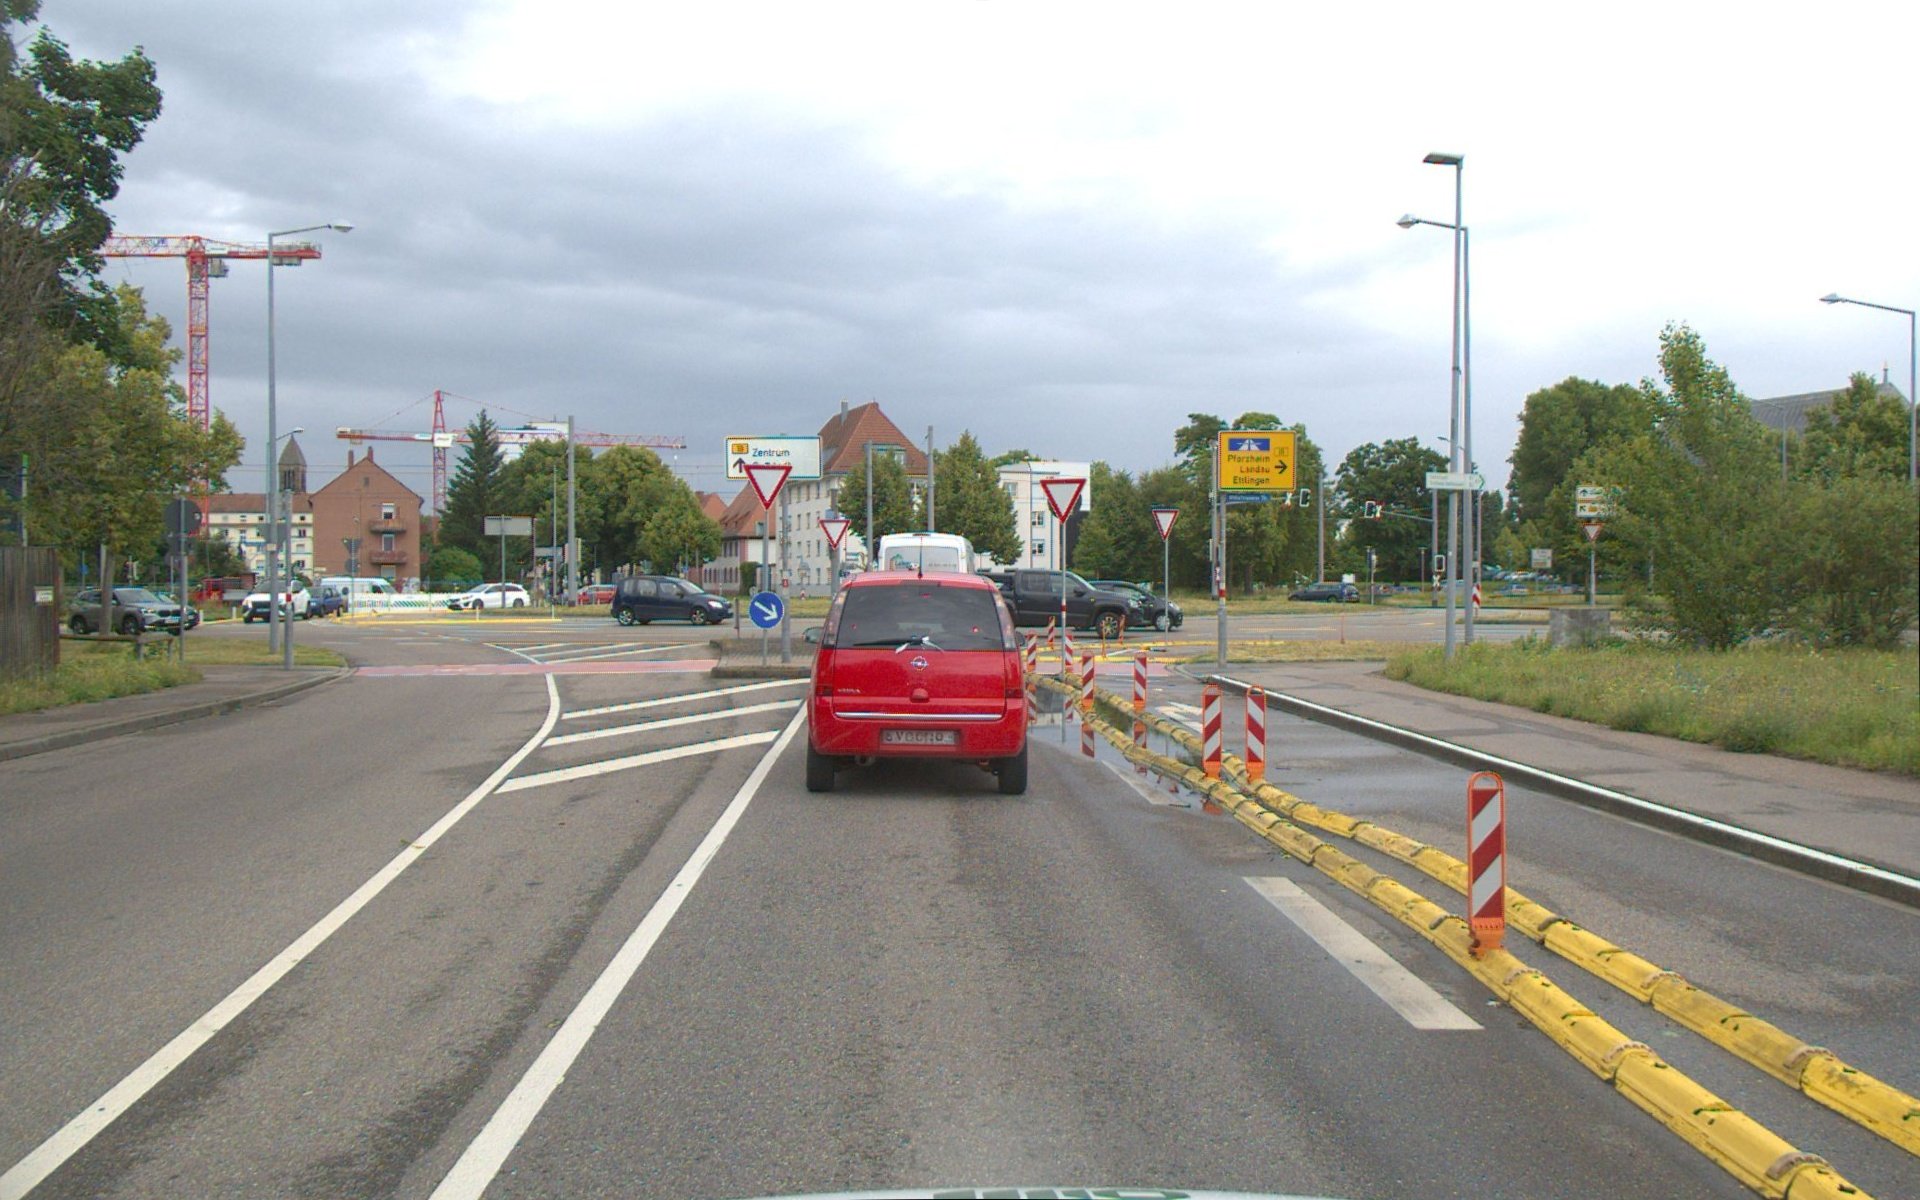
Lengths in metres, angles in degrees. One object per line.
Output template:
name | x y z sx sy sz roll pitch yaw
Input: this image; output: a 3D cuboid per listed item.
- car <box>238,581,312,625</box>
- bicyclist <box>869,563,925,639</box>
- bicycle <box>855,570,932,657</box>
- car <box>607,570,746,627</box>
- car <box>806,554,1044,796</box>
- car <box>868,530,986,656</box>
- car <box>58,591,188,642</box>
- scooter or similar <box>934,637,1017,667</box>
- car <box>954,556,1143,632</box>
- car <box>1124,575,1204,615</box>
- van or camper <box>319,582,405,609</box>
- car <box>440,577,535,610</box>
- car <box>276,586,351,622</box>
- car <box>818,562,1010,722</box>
car | -28.089 0.096 67.923 1.895 1.713 4.180 -1 1 -9
bicyclist | -1.208 0.013 31.826 1.040 1.426 0.615 0 0 0
bicycle | -1.274 0.255 31.833 1.447 1.640 0.606 0 0 1
car | -9.453 -0.069 55.255 4.105 1.845 2.080 0 0 9
car | -0.300 0.510 13.365 1.639 1.669 3.626 1 1 -2
car | -0.651 -0.167 36.763 2.149 2.584 4.965 1 0 4
car | -27.900 0.539 55.100 4.438 1.610 1.994 0 1 34
scooter or similar | 0.300 0.995 31.864 1.574 0.513 0.925 -1 1 1
car | 2.473 -0.169 45.395 4.918 2.006 2.226 0 0 10
car | 10.516 -0.271 85.018 3.902 1.881 2.001 2 -2 12
van or camper | -46.264 -0.352 128.014 6.045 2.049 2.002 0 0 9
car | -24.970 -0.357 87.536 1.959 1.663 4.659 0 1 35
car | -29.132 0.160 74.628 1.892 1.515 3.999 -1 1 -2
car | -0.562 0.426 19.948 2.018 1.676 4.605 1 1 -2
